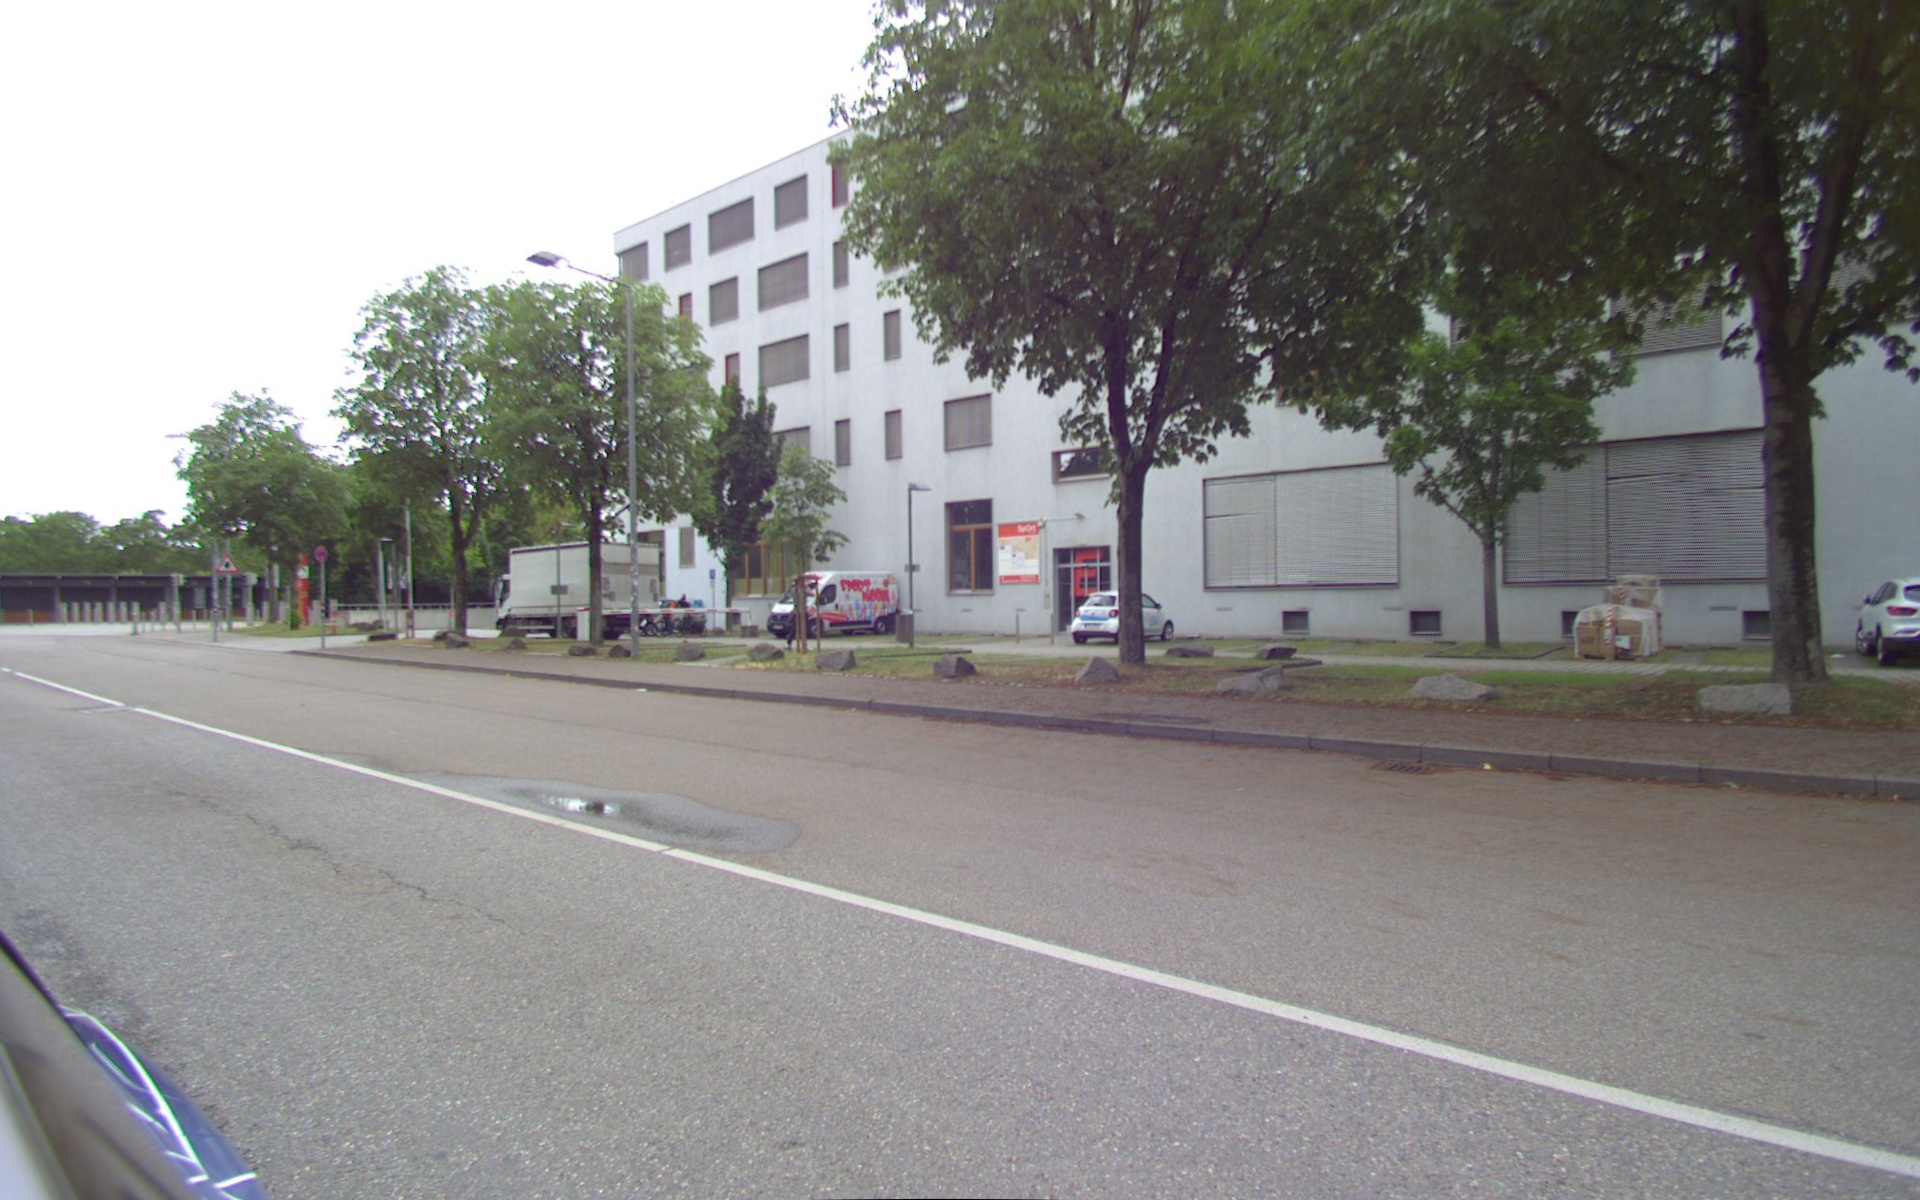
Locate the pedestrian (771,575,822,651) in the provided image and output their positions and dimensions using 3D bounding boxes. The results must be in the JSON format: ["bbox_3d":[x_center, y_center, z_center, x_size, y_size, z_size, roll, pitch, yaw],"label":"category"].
[{"bbox_3d":[-3.731,0.280,23.116,0.786,1.684,0.835,0,1,38],"label":"pedestrian"}]

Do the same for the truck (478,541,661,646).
[{"bbox_3d":[-15.117,-0.277,38.799,8.354,3.627,2.651,0,1,38],"label":"truck"}]

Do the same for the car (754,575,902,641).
[{"bbox_3d":[-4.866,0.219,38.096,2.078,2.296,5.569,0,1,40],"label":"car"}]

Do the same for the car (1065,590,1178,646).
[{"bbox_3d":[4.812,0.482,29.881,1.691,1.511,3.576,0,1,40],"label":"car"}]

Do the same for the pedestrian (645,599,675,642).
[{"bbox_3d":[-11.653,0.791,39.306,0.882,1.618,0.674,0,1,23],"label":"pedestrian"}]

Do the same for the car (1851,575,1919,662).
[{"bbox_3d":[17.934,0.277,18.654,1.896,1.467,3.963,0,1,36],"label":"car"}]

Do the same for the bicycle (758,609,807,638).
[{"bbox_3d":[-7.254,0.947,41.436,0.614,1.078,2.002,0,2,44],"label":"bicycle"}]
